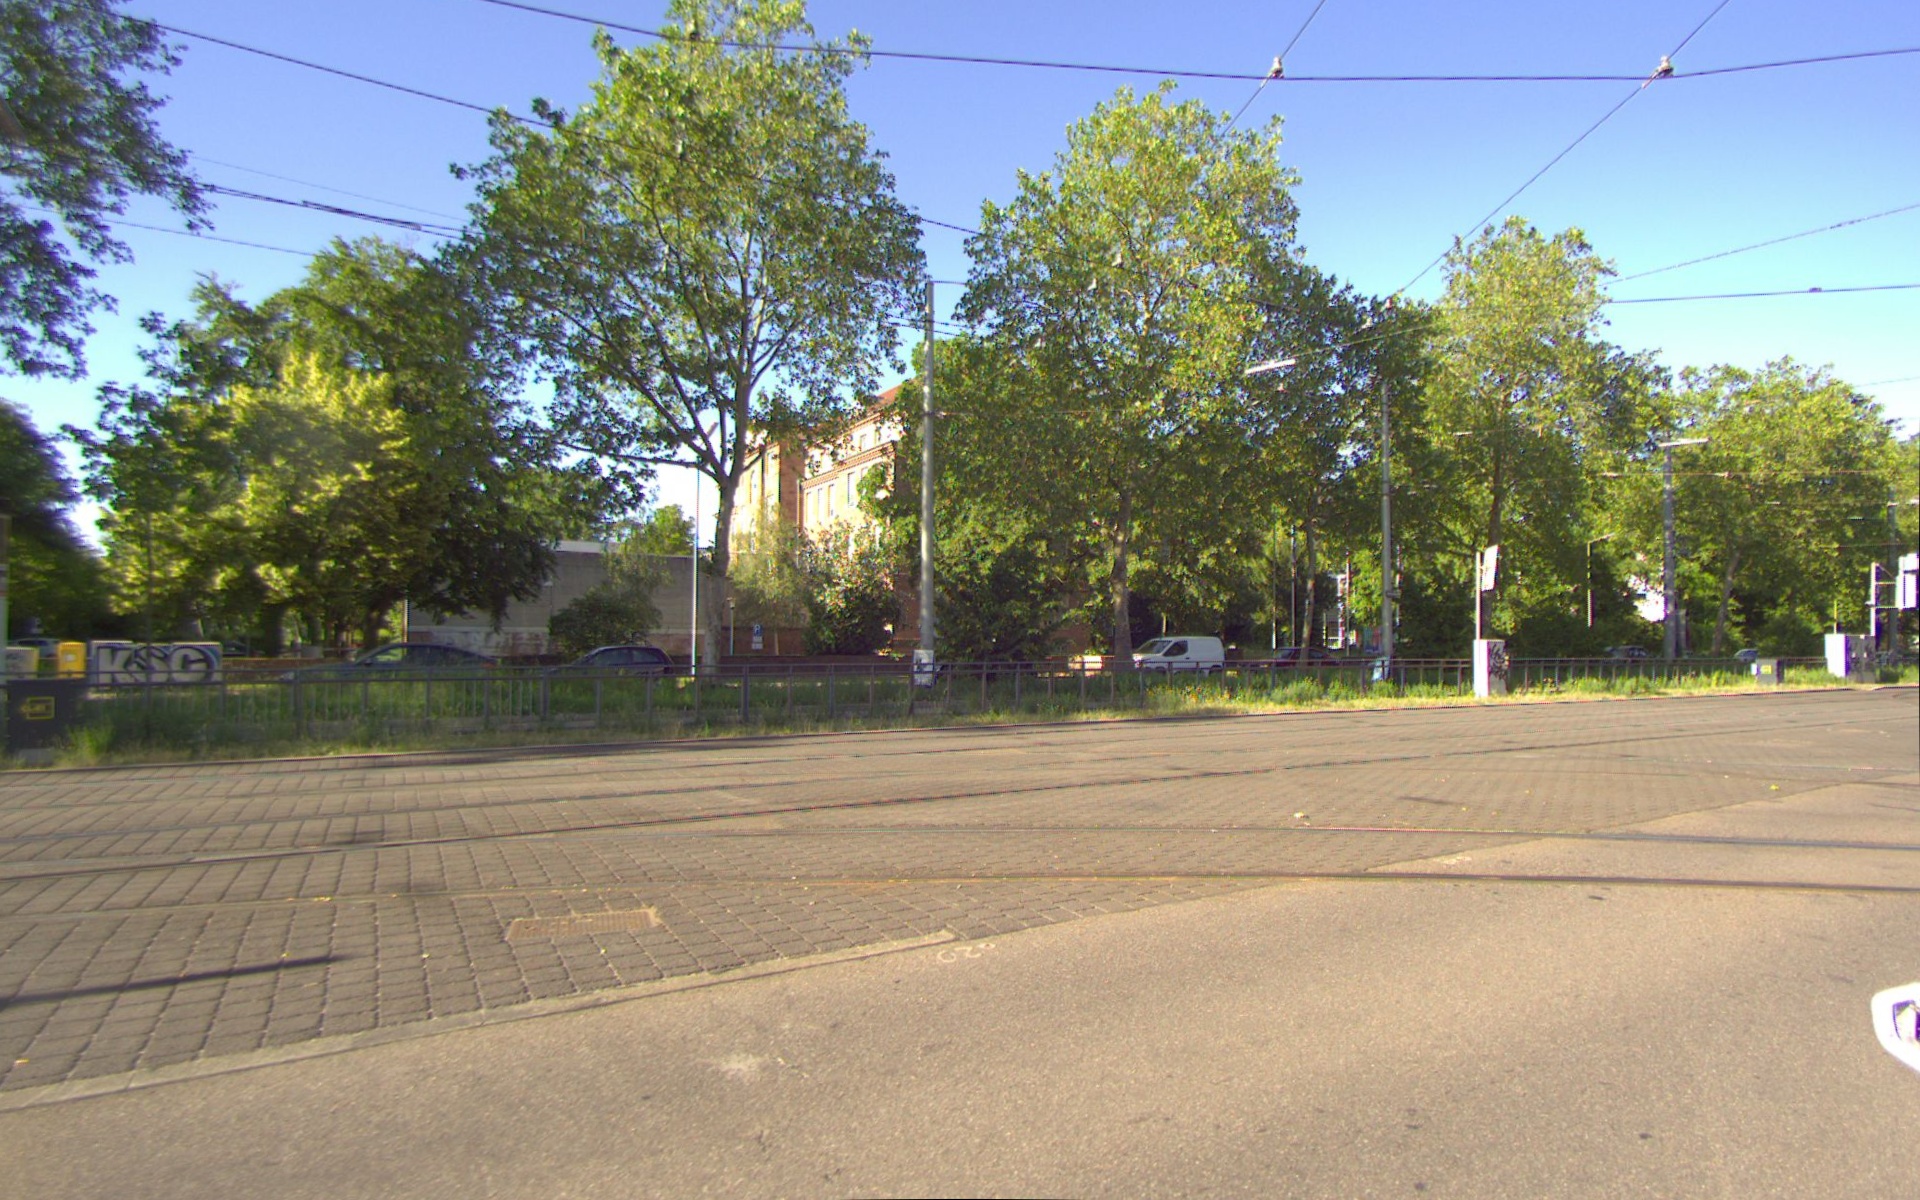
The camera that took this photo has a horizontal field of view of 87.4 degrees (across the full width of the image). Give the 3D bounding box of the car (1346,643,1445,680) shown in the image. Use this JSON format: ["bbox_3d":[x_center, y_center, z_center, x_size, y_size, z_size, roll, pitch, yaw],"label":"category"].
[{"bbox_3d":[19.256,2.713,44.381,4.230,1.529,1.926,3,-2,-31],"label":"car"}]

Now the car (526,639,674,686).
[{"bbox_3d":[-9.630,1.644,26.952,3.531,1.155,1.498,2,-2,-31],"label":"car"}]

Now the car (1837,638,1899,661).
[{"bbox_3d":[64.018,3.466,70.793,4.793,1.529,1.926,2,-2,-31],"label":"car"}]

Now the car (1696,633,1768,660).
[{"bbox_3d":[47.645,2.867,61.987,4.794,1.529,1.926,3,-2,-31],"label":"car"}]

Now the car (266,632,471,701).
[{"bbox_3d":[-14.097,1.552,24.137,4.097,1.529,1.661,1,-2,-31],"label":"car"}]

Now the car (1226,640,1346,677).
[{"bbox_3d":[13.135,2.355,40.444,4.794,1.366,1.926,3,-2,-31],"label":"car"}]

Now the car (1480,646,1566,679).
[{"bbox_3d":[28.300,3.132,50.455,4.230,1.529,1.926,3,-2,-31],"label":"car"}]

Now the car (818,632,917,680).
[{"bbox_3d":[-4.139,2.474,44.928,3.952,2.040,1.985,1,-2,-29],"label":"car"}]

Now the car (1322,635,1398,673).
[{"bbox_3d":[22.557,3.036,56.650,3.954,2.040,1.984,2,-2,-31],"label":"car"}]

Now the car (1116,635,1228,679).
[{"bbox_3d":[7.947,2.099,37.536,4.097,1.529,1.661,2,-2,-31],"label":"car"}]

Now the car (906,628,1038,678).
[{"bbox_3d":[0.407,1.708,32.982,4.097,1.529,1.661,2,-1,-31],"label":"car"}]
